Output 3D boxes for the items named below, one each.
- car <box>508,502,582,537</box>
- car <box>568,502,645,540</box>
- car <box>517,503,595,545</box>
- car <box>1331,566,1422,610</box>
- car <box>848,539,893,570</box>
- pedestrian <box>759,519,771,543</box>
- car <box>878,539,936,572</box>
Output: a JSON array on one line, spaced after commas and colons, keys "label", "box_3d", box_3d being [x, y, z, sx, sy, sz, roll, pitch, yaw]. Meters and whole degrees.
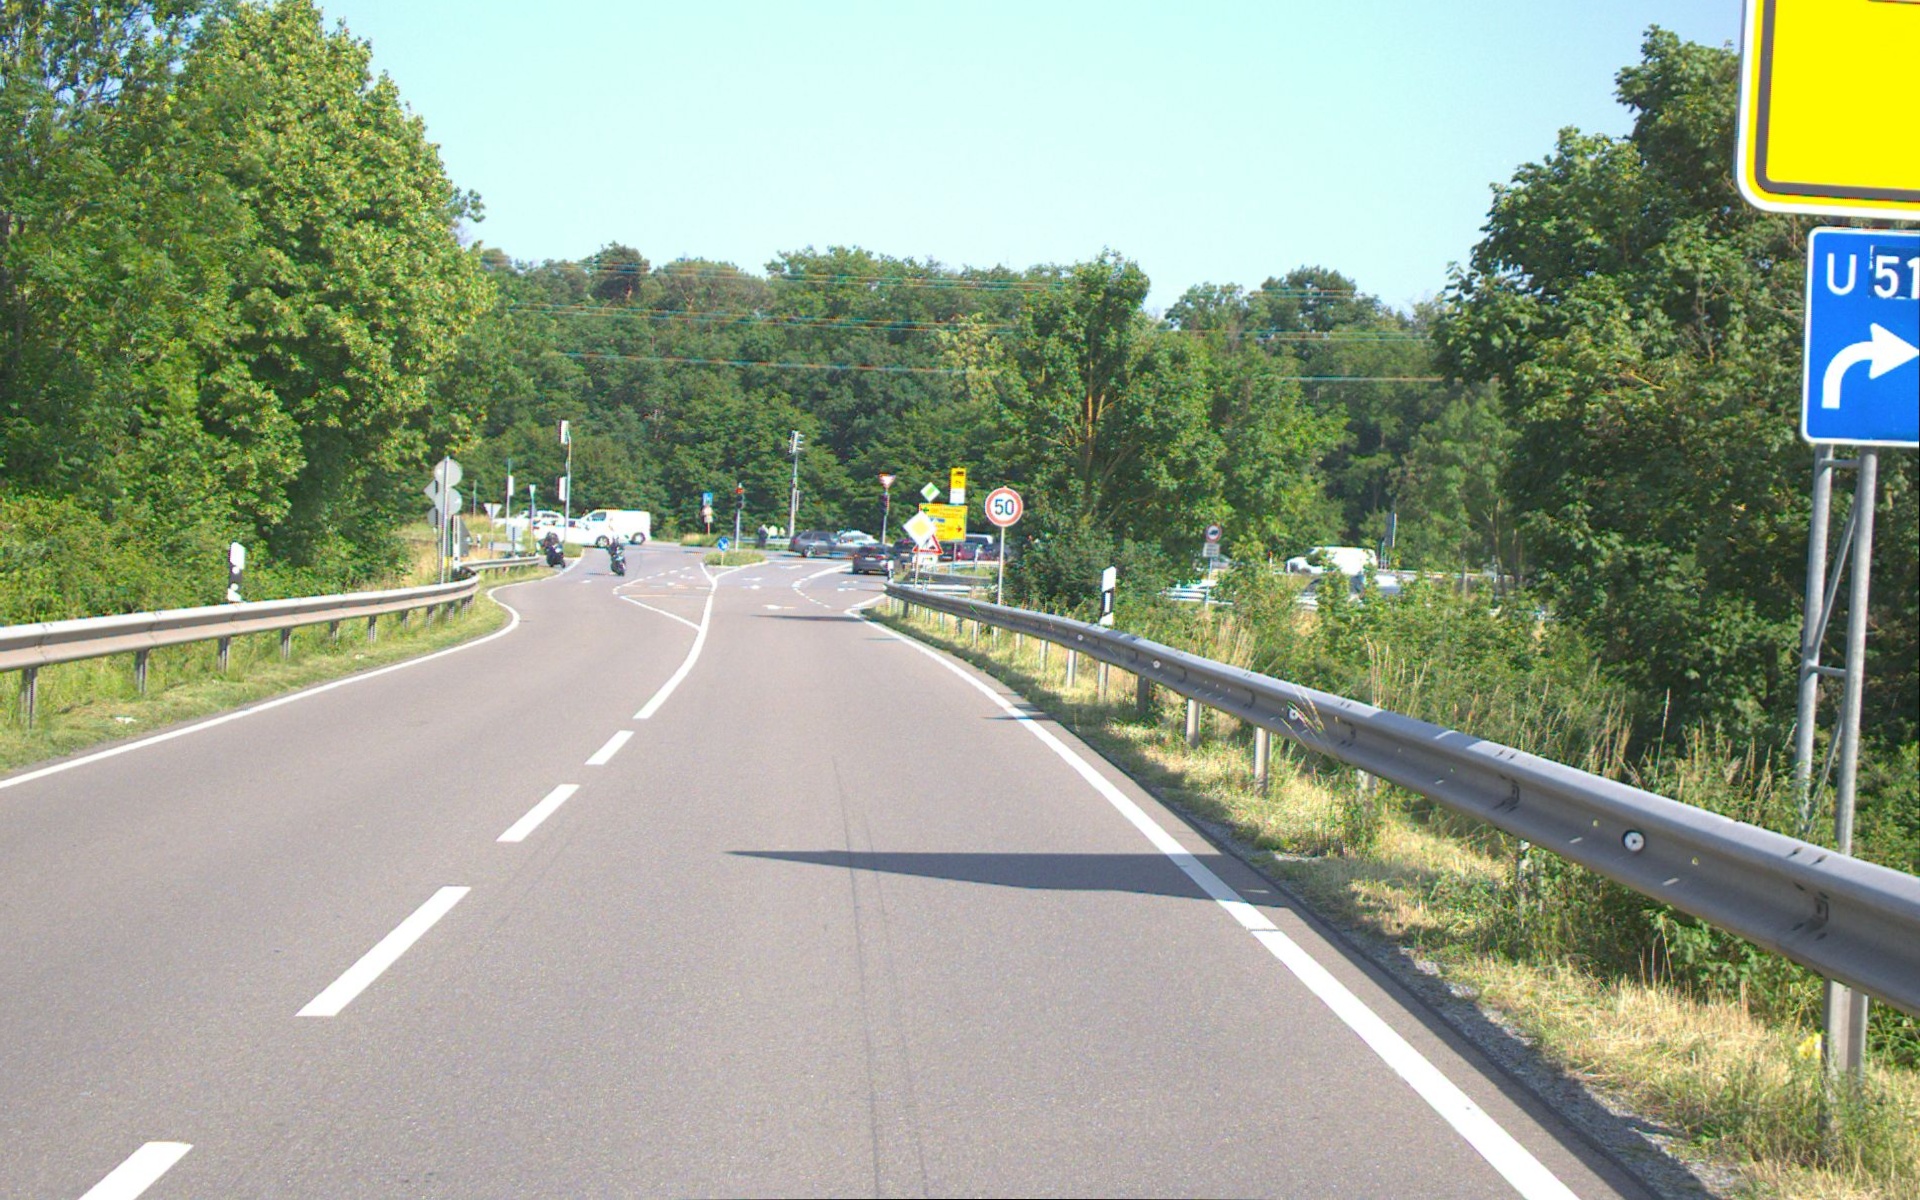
[{"label": "car", "box_3d": [-24.819, -4.804, 205.596, 3.986, 2.007, 1.796, 0, 1, -24]}, {"label": "car", "box_3d": [-19.739, -4.405, 191.901, 3.986, 2.007, 2.001, 1, 1, -13]}, {"label": "car", "box_3d": [-21.347, -4.020, 181.571, 3.986, 2.006, 1.801, 2, 2, -7]}, {"label": "car", "box_3d": [21.115, -0.610, 174.360, 3.996, 1.870, 1.887, 6, 2, 37]}, {"label": "car", "box_3d": [-4.228, -2.156, 162.426, 1.799, 1.393, 4.000, -3, 1, 2]}, {"label": "pedestrian", "box_3d": [-11.335, -4.040, 200.082, 0.523, 1.386, 0.513, 1, 1, 22]}, {"label": "car", "box_3d": [-2.584, -2.176, 169.549, 1.800, 1.495, 3.997, 3, 1, 14]}]
